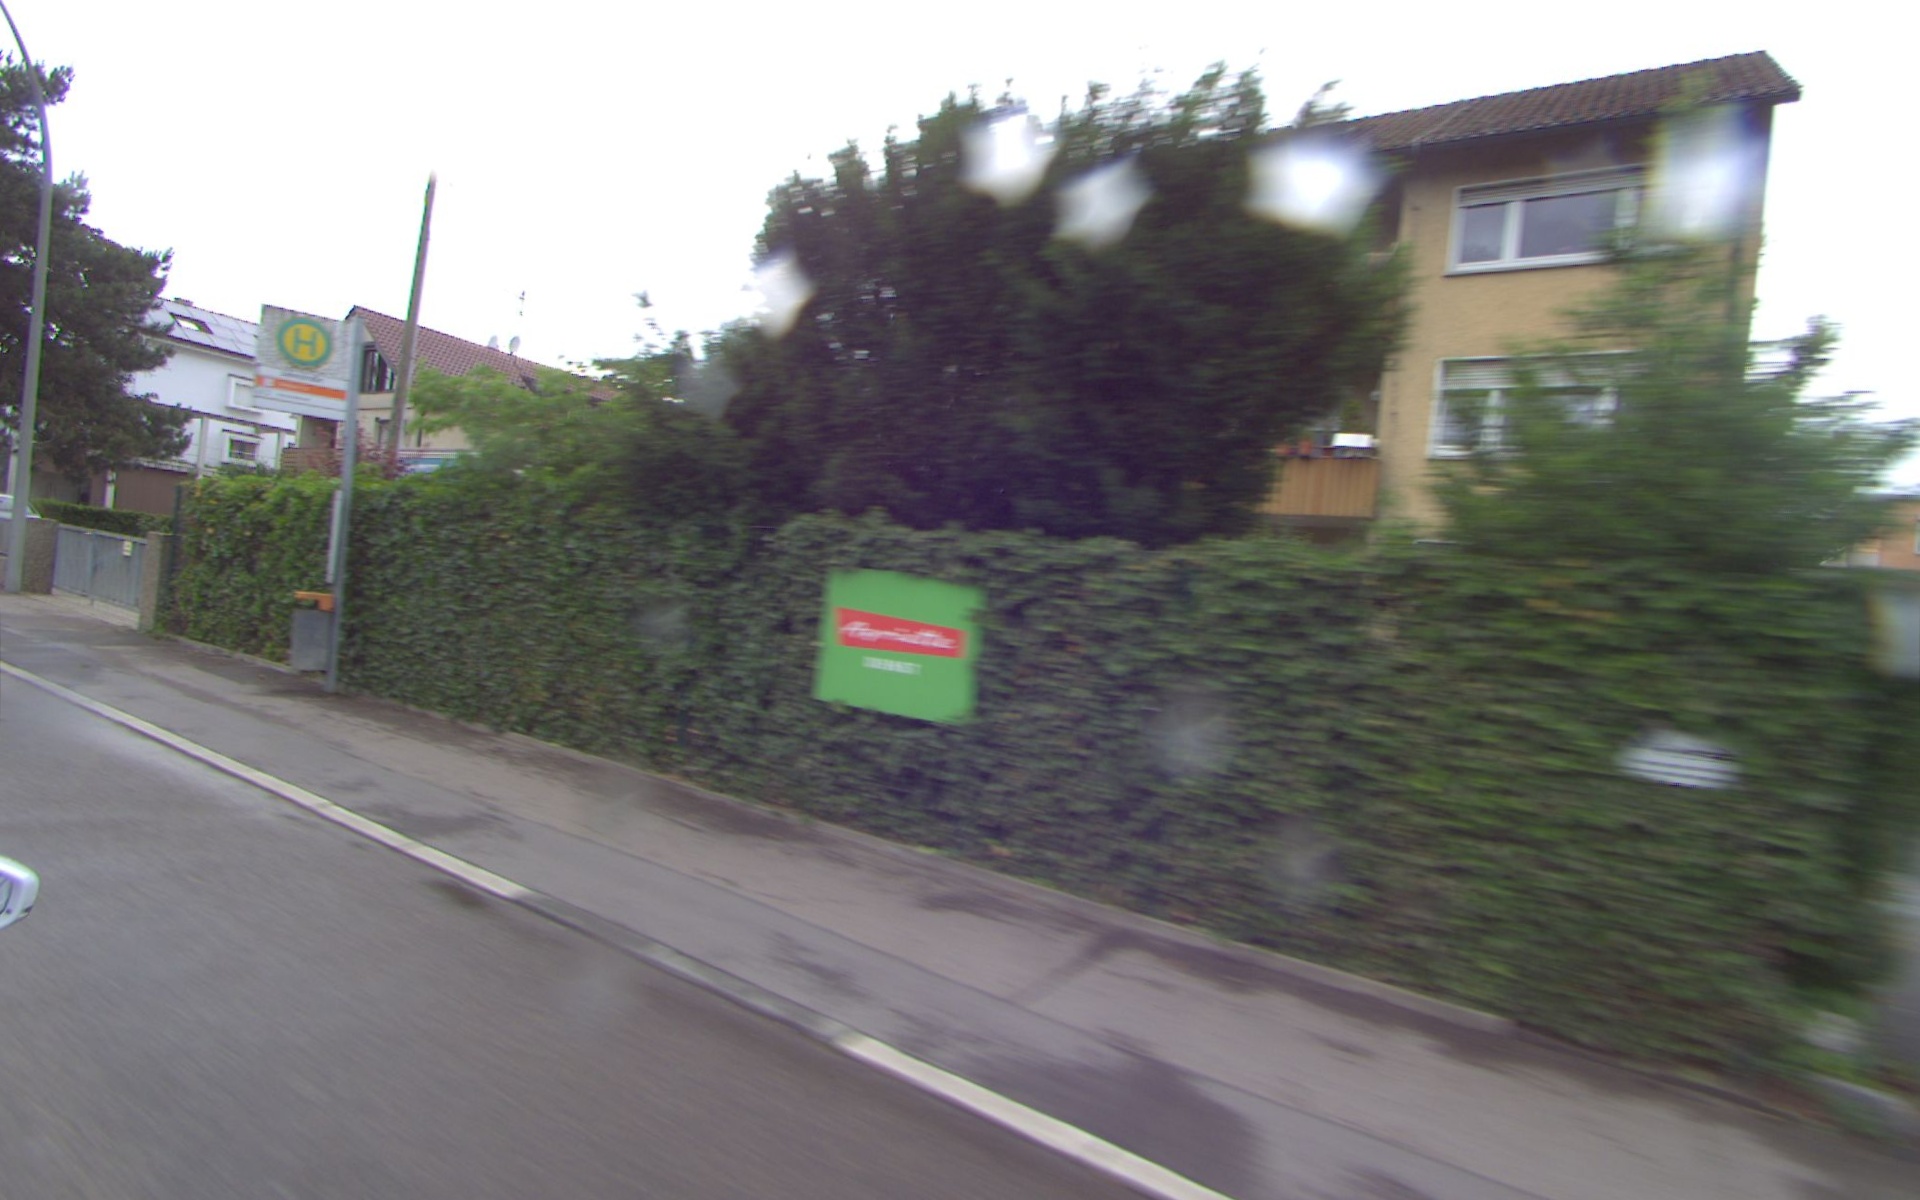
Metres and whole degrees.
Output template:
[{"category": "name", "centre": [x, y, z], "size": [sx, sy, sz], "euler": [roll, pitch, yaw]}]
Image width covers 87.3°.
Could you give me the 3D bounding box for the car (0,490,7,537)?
[{"category": "car", "centre": [-26.434, -2.236, 25.705], "size": [3.936, 1.502, 1.998], "euler": [4, -4, 32]}]
